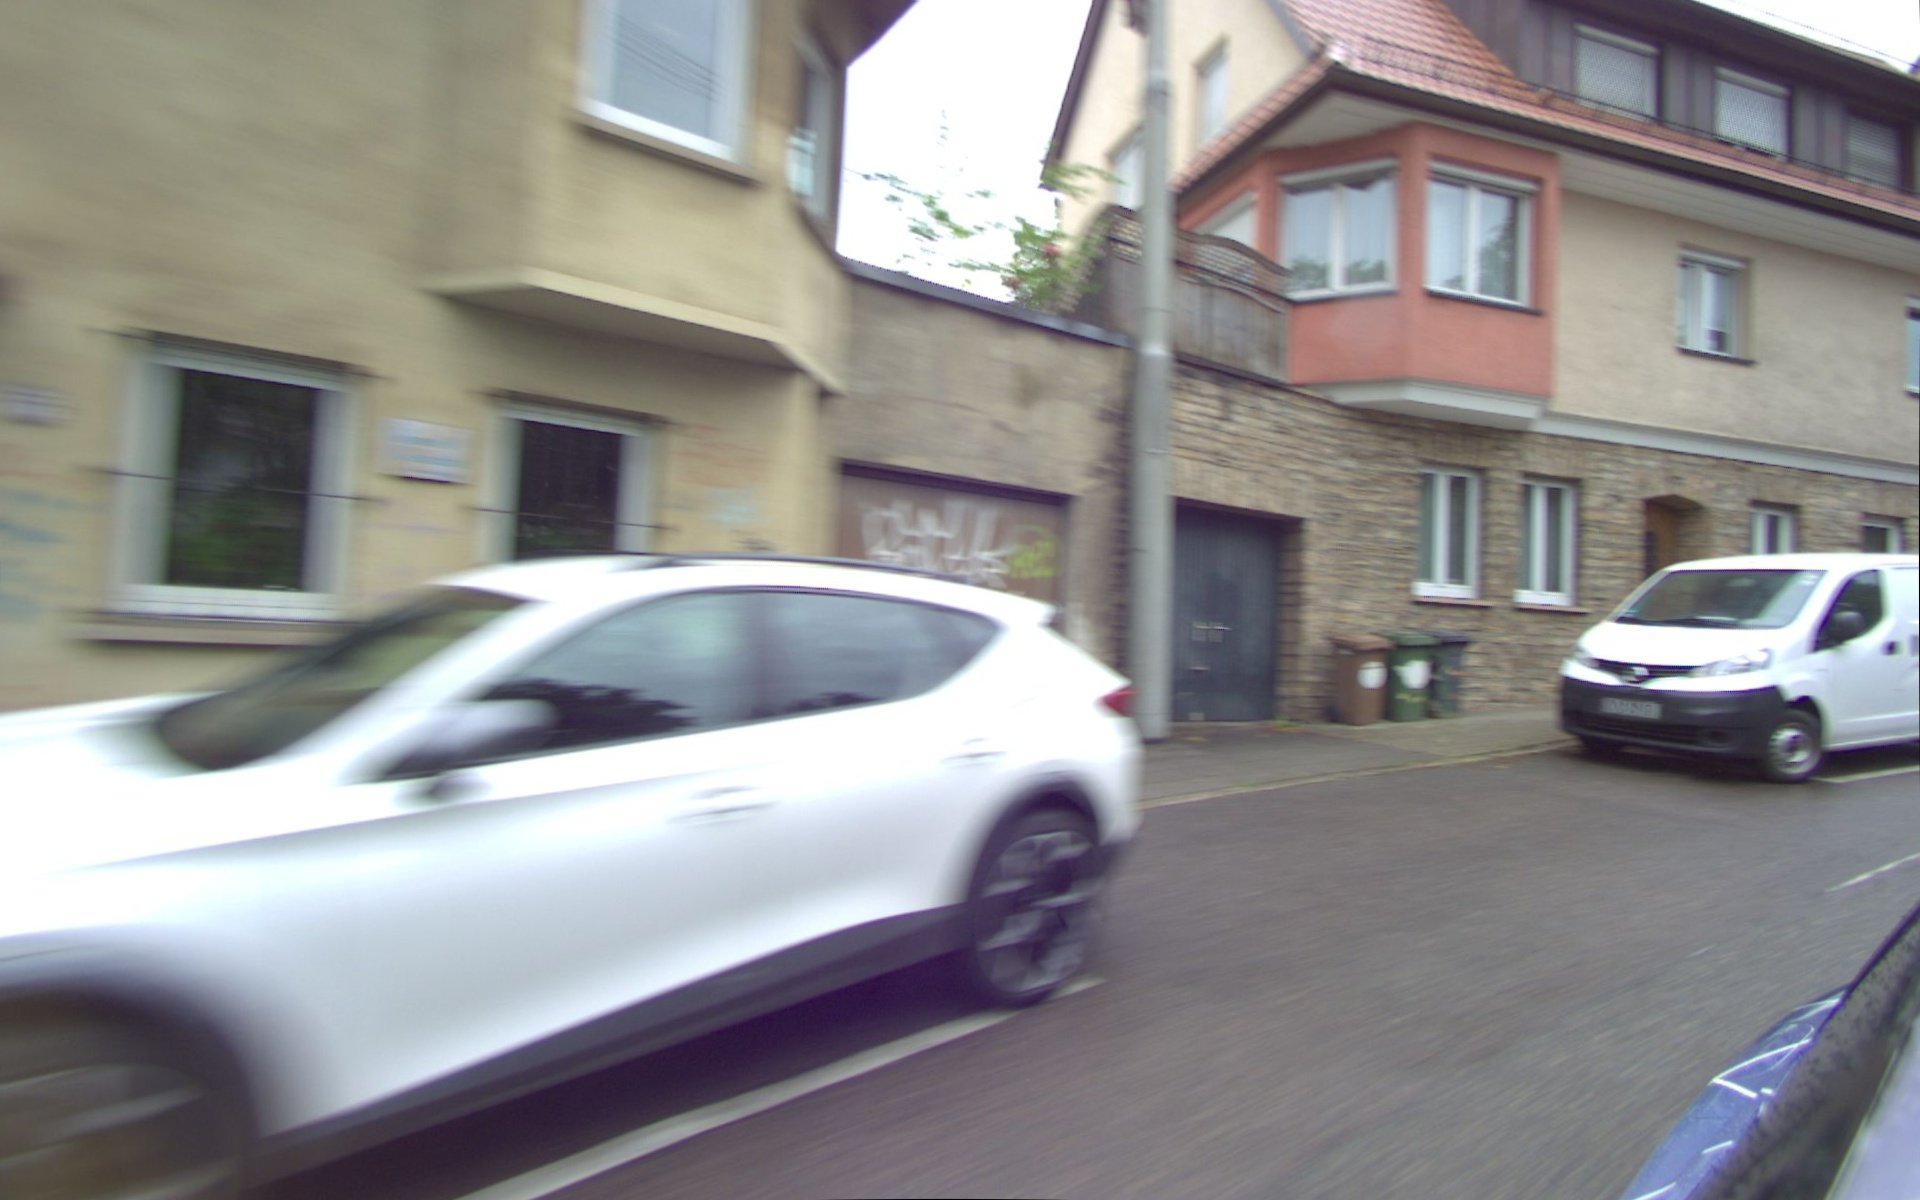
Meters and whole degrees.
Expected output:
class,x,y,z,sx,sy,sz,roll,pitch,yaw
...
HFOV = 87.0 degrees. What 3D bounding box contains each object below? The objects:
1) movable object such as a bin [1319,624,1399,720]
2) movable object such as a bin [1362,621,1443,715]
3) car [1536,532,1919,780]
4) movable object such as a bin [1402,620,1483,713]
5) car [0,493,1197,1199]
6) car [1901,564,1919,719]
class,x,y,z,sx,sy,sz,roll,pitch,yaw
movable object such as a bin,4.179,0.738,10.619,0.502,0.933,0.583,0,2,-17
movable object such as a bin,4.701,0.709,10.772,0.502,0.933,0.583,0,2,-17
car,7.409,0.419,9.044,4.236,1.814,1.713,0,-1,-23
movable object such as a bin,5.227,0.709,10.980,0.502,0.933,0.583,0,2,-17
car,-1.270,0.549,3.244,4.342,1.557,1.915,-1,3,-44
car,12.306,0.445,10.621,4.318,1.625,1.624,0,0,-17
